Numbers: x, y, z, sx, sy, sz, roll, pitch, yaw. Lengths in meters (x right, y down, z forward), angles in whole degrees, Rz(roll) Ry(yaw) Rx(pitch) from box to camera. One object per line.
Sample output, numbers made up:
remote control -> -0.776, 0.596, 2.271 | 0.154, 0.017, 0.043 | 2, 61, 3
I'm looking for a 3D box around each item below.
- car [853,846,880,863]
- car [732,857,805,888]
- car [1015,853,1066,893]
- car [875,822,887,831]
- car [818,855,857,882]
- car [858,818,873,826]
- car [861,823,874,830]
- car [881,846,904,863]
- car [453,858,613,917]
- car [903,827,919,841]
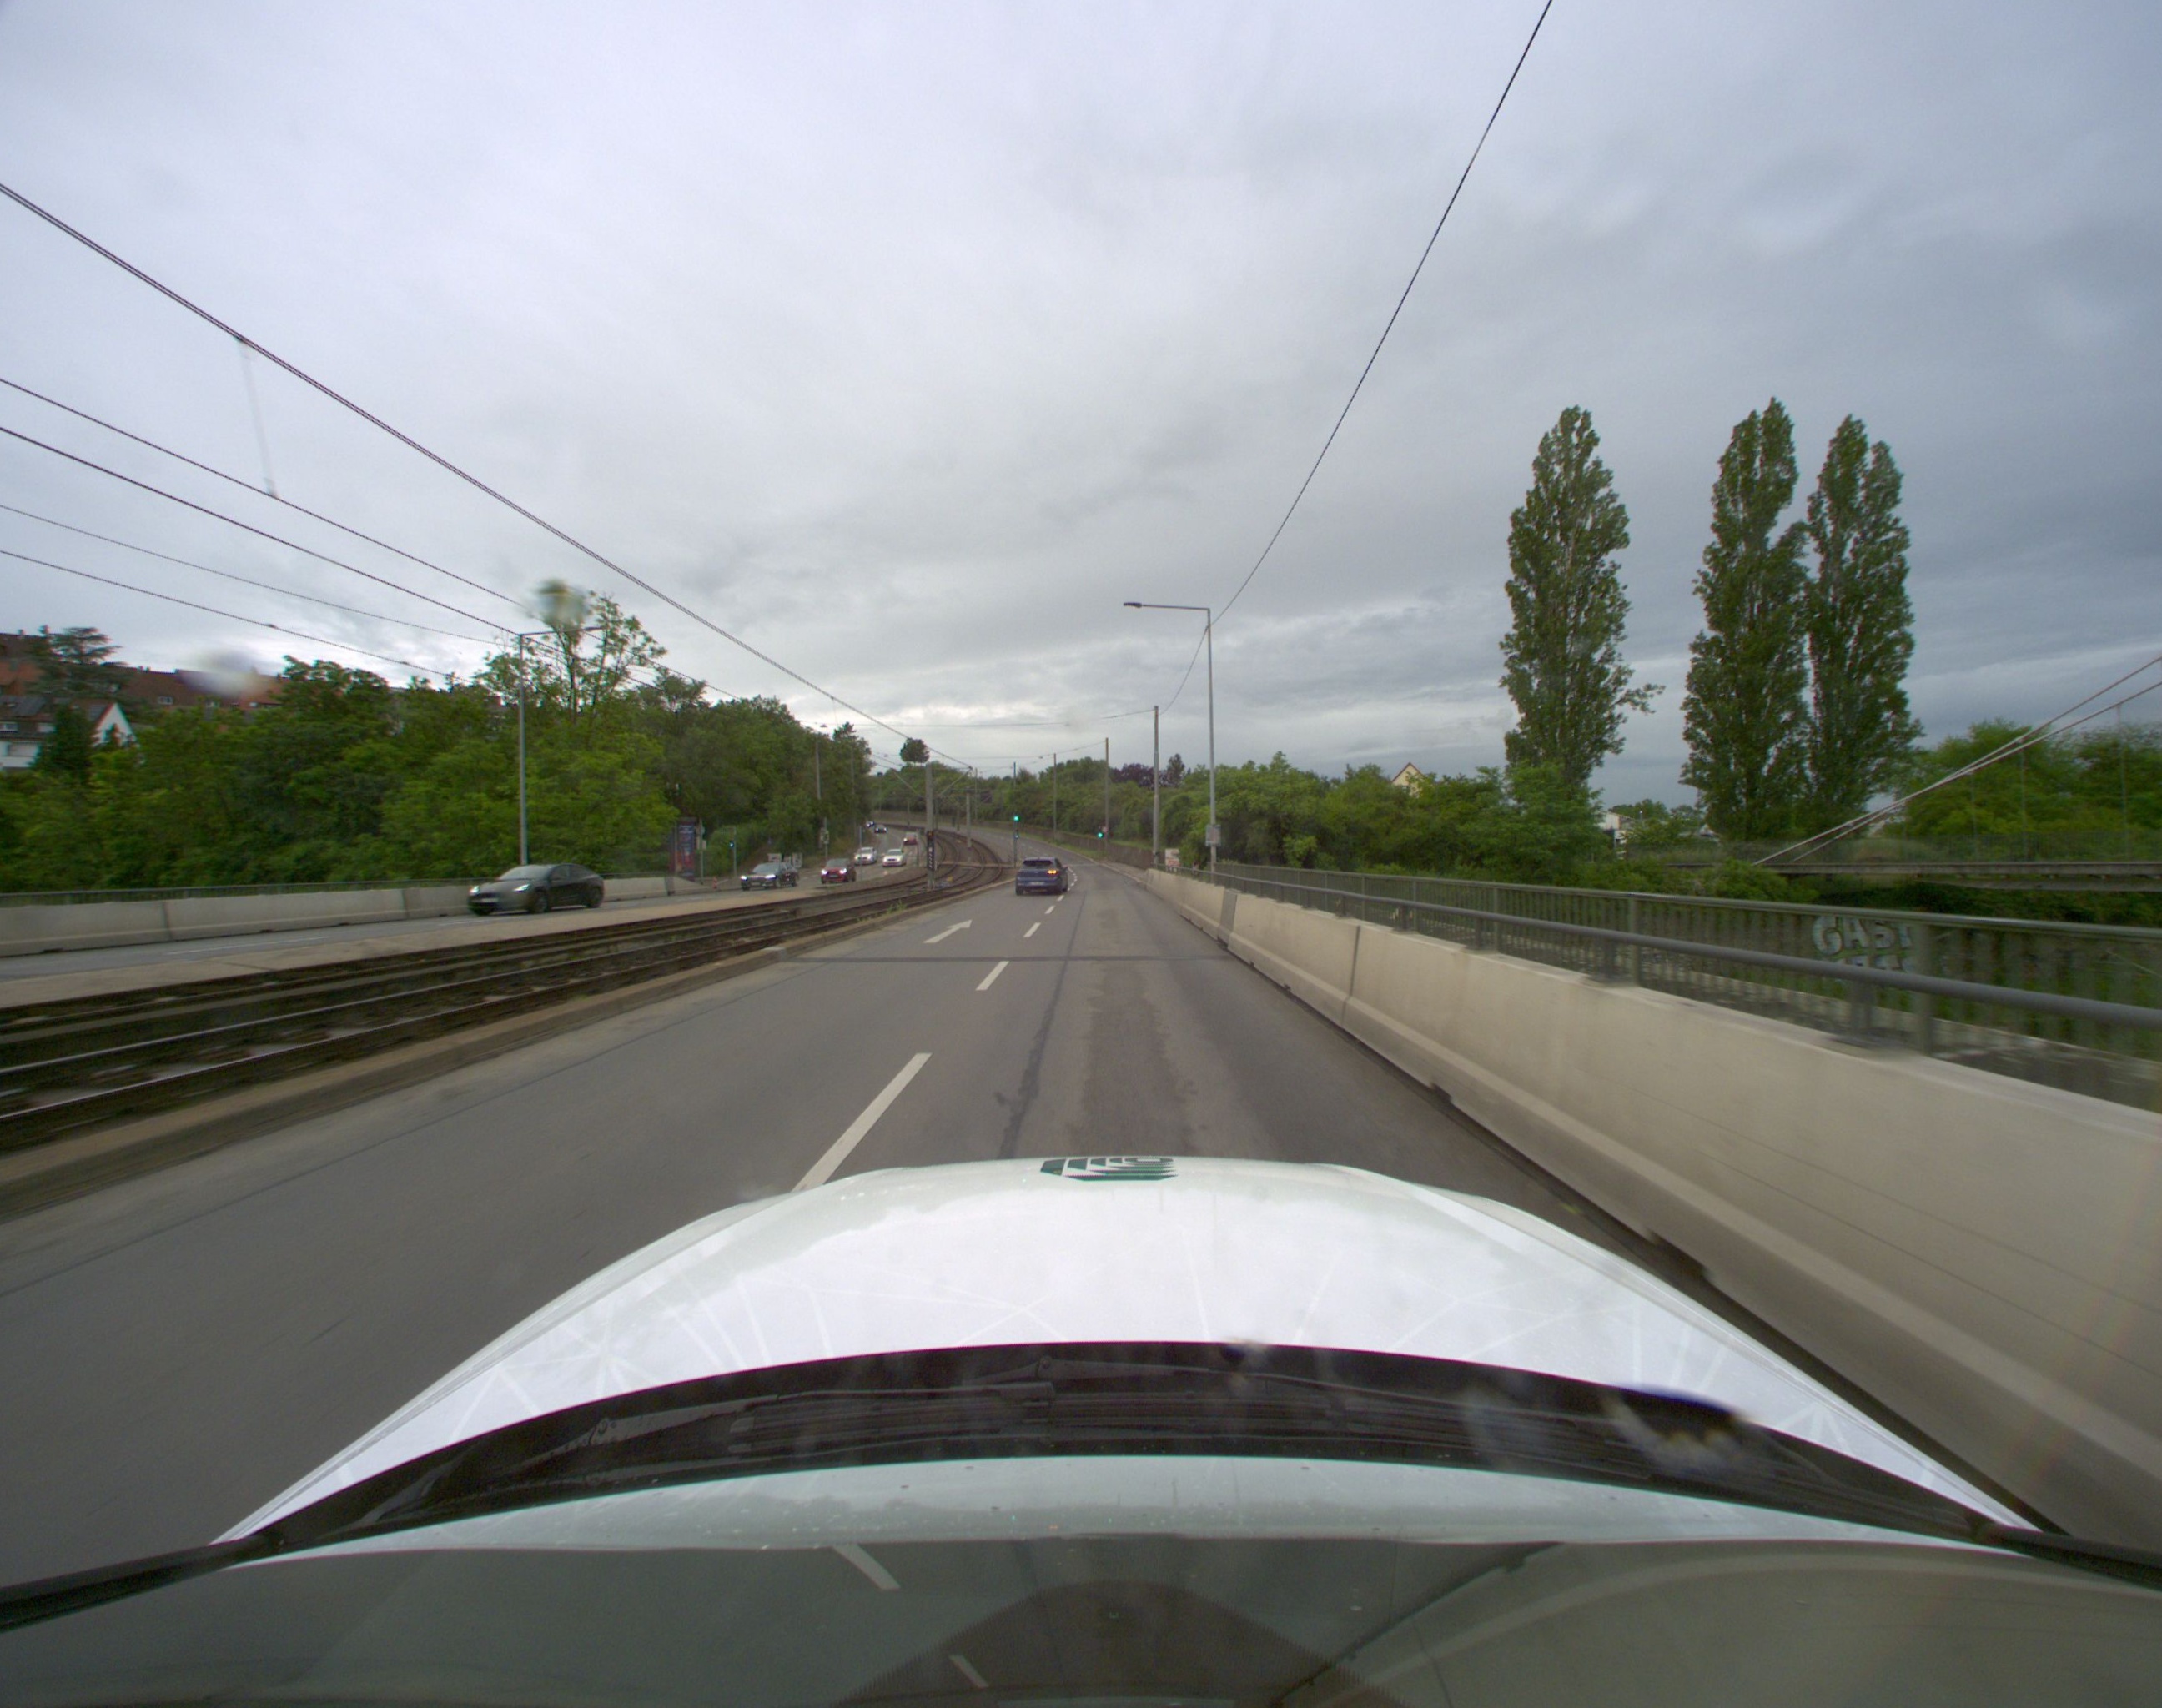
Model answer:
car -> -20.300, 0.029, 77.076 | 1.819, 1.515, 4.518 | -1, 0, -7
car -> -17.662, 1.039, 46.347 | 1.962, 1.597, 5.186 | -2, -1, 1
car -> -1.539, 0.714, 32.220 | 1.757, 1.501, 4.000 | 0, 0, 0
car -> -36.154, -4.973, 147.329 | 1.721, 1.458, 4.248 | -3, 3, -19
car -> -15.374, 0.880, 51.500 | 1.597, 1.493, 3.015 | -2, 2, -2
car -> -44.411, -6.608, 167.452 | 1.830, 1.379, 4.662 | -4, 5, -29
car -> -45.992, -6.016, 175.426 | 1.642, 1.384, 3.860 | -4, 4, -27
car -> -16.738, 0.081, 72.587 | 1.730, 1.437, 4.476 | -2, -1, -10
car -> -17.729, 1.015, 26.707 | 1.889, 1.597, 4.734 | -2, 1, 1
car -> -22.787, -2.705, 109.286 | 1.847, 1.596, 4.719 | -2, 4, -9
